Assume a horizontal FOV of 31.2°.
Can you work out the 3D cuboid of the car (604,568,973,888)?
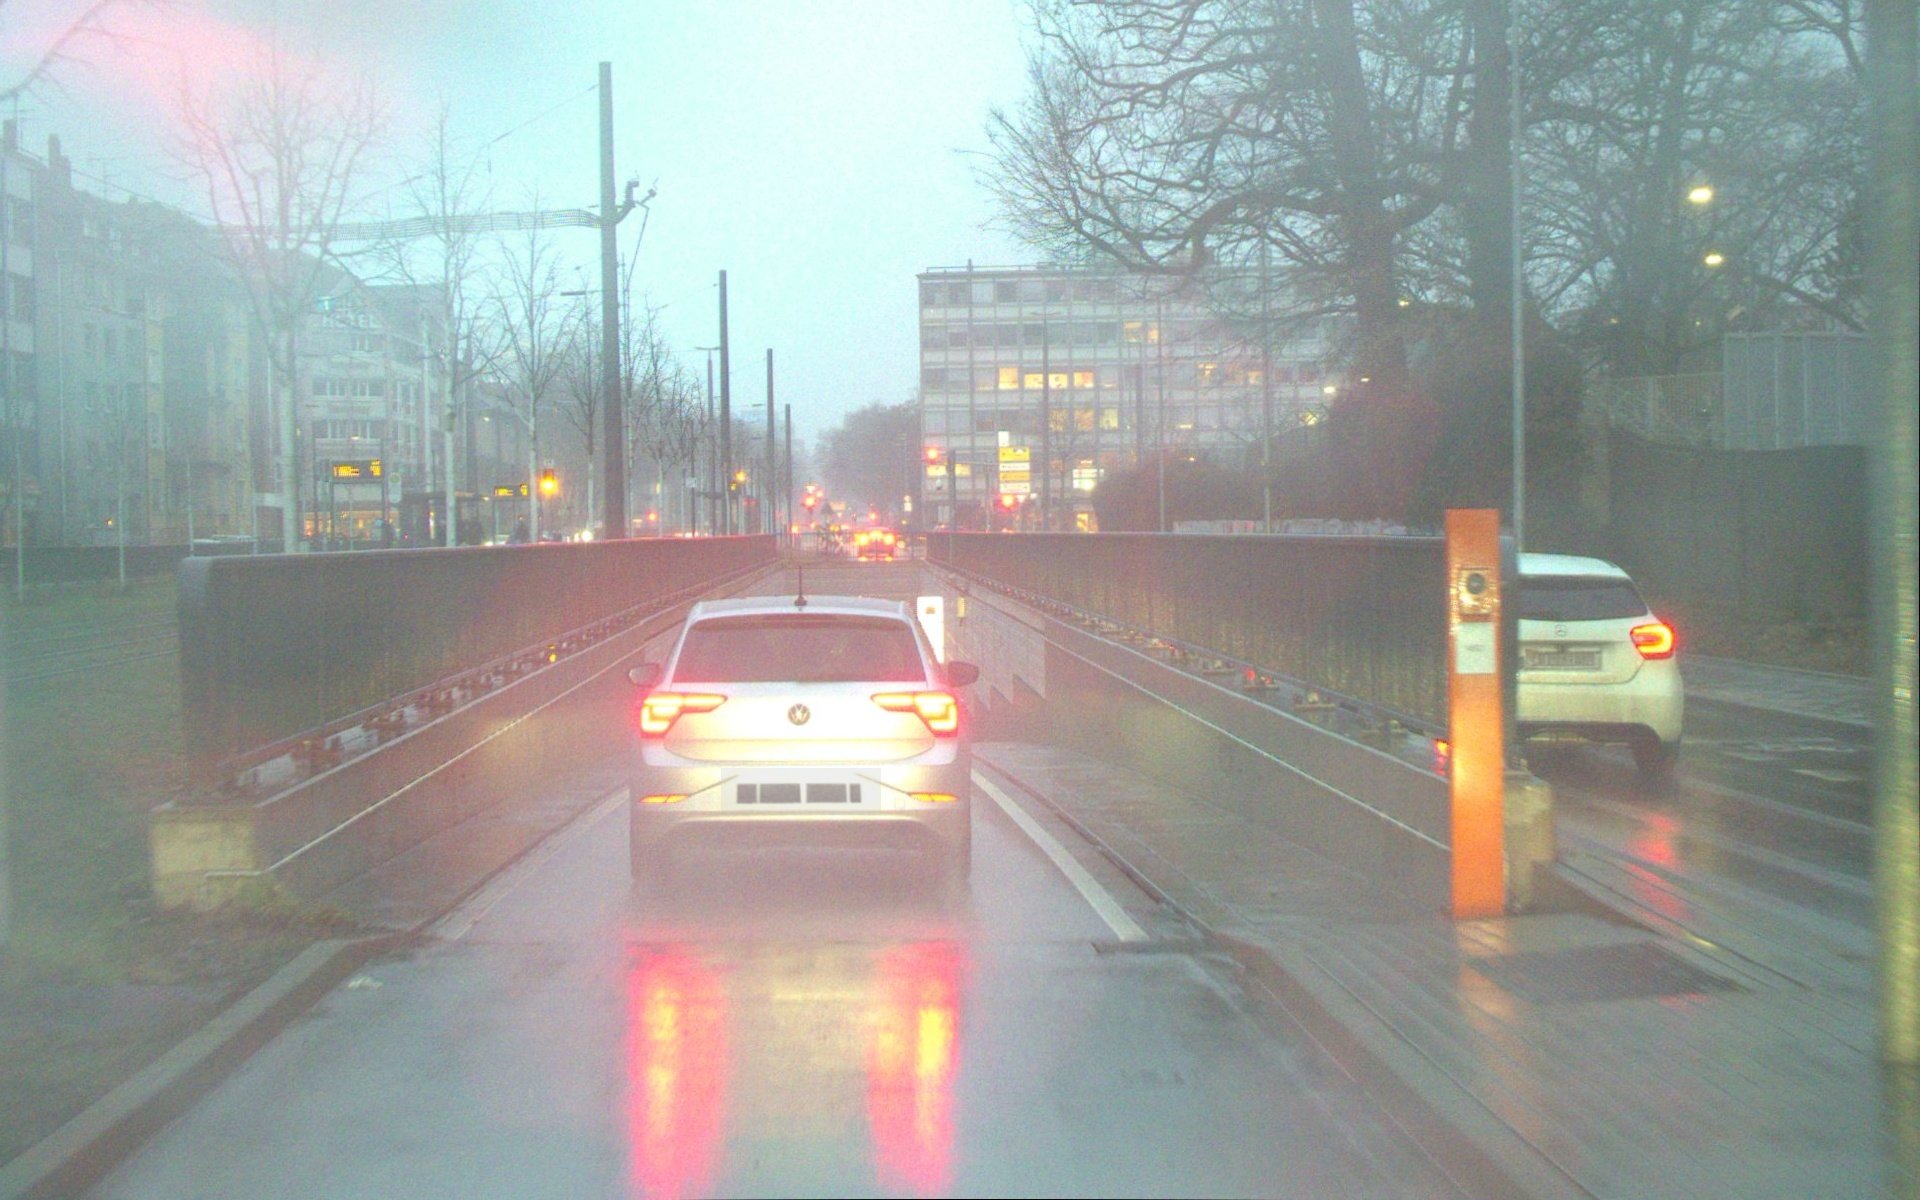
[{"bbox_3d":[-0.810,0.587,18.289,1.722,1.474,4.000,1,1,0],"label":"car"}]

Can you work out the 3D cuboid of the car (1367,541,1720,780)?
[{"bbox_3d":[3.917,0.358,23.689,1.722,1.474,4.000,1,1,0],"label":"car"}]
